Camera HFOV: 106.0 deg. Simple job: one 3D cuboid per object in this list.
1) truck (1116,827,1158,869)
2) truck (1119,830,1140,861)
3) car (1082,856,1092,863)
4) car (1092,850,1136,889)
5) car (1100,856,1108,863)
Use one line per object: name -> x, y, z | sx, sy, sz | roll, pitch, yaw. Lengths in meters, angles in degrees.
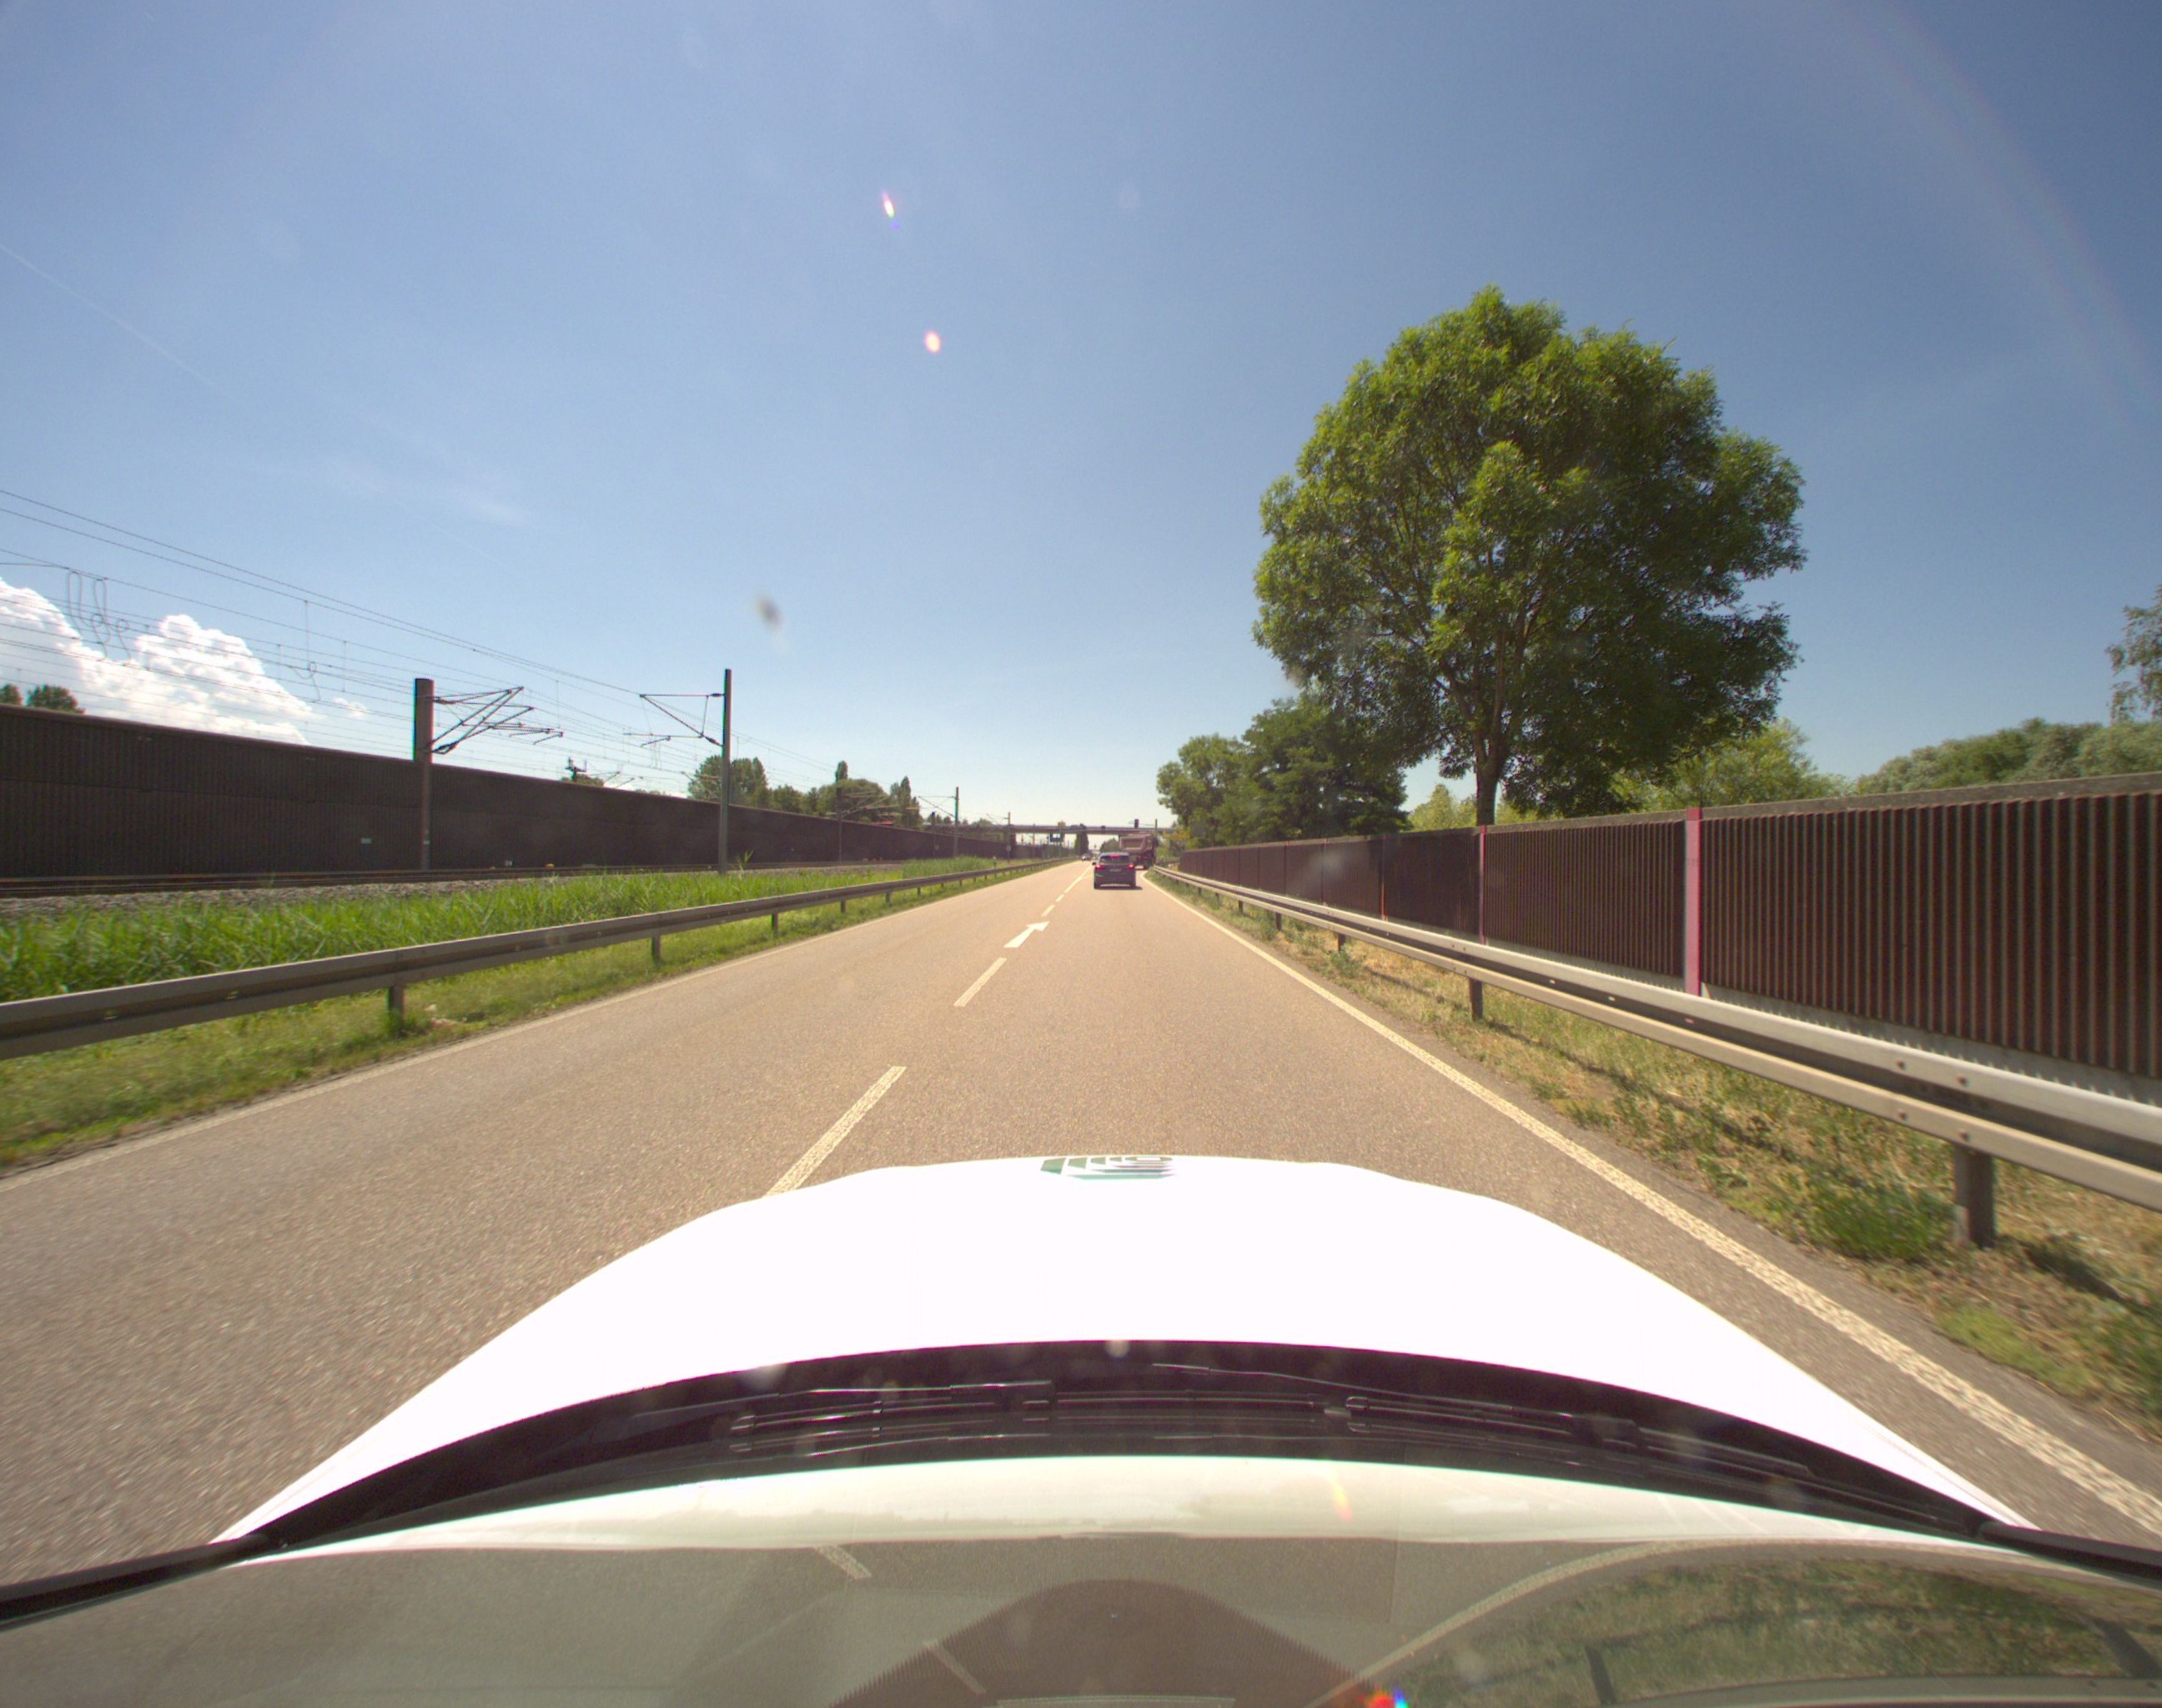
truck -> 5.620, -0.506, 79.637 | 2.816, 3.821, 11.917 | 0, 0, 10
truck -> 6.139, -1.051, 103.914 | 2.579, 3.737, 9.583 | 0, 0, 3
car -> 1.144, 1.054, 162.228 | 1.859, 1.485, 4.886 | 0, 0, -1
car -> 1.446, 0.651, 36.105 | 1.838, 1.623, 4.227 | 0, 0, 2
car -> 6.480, 1.565, 230.293 | 1.919, 1.767, 4.603 | 1, 1, 4
